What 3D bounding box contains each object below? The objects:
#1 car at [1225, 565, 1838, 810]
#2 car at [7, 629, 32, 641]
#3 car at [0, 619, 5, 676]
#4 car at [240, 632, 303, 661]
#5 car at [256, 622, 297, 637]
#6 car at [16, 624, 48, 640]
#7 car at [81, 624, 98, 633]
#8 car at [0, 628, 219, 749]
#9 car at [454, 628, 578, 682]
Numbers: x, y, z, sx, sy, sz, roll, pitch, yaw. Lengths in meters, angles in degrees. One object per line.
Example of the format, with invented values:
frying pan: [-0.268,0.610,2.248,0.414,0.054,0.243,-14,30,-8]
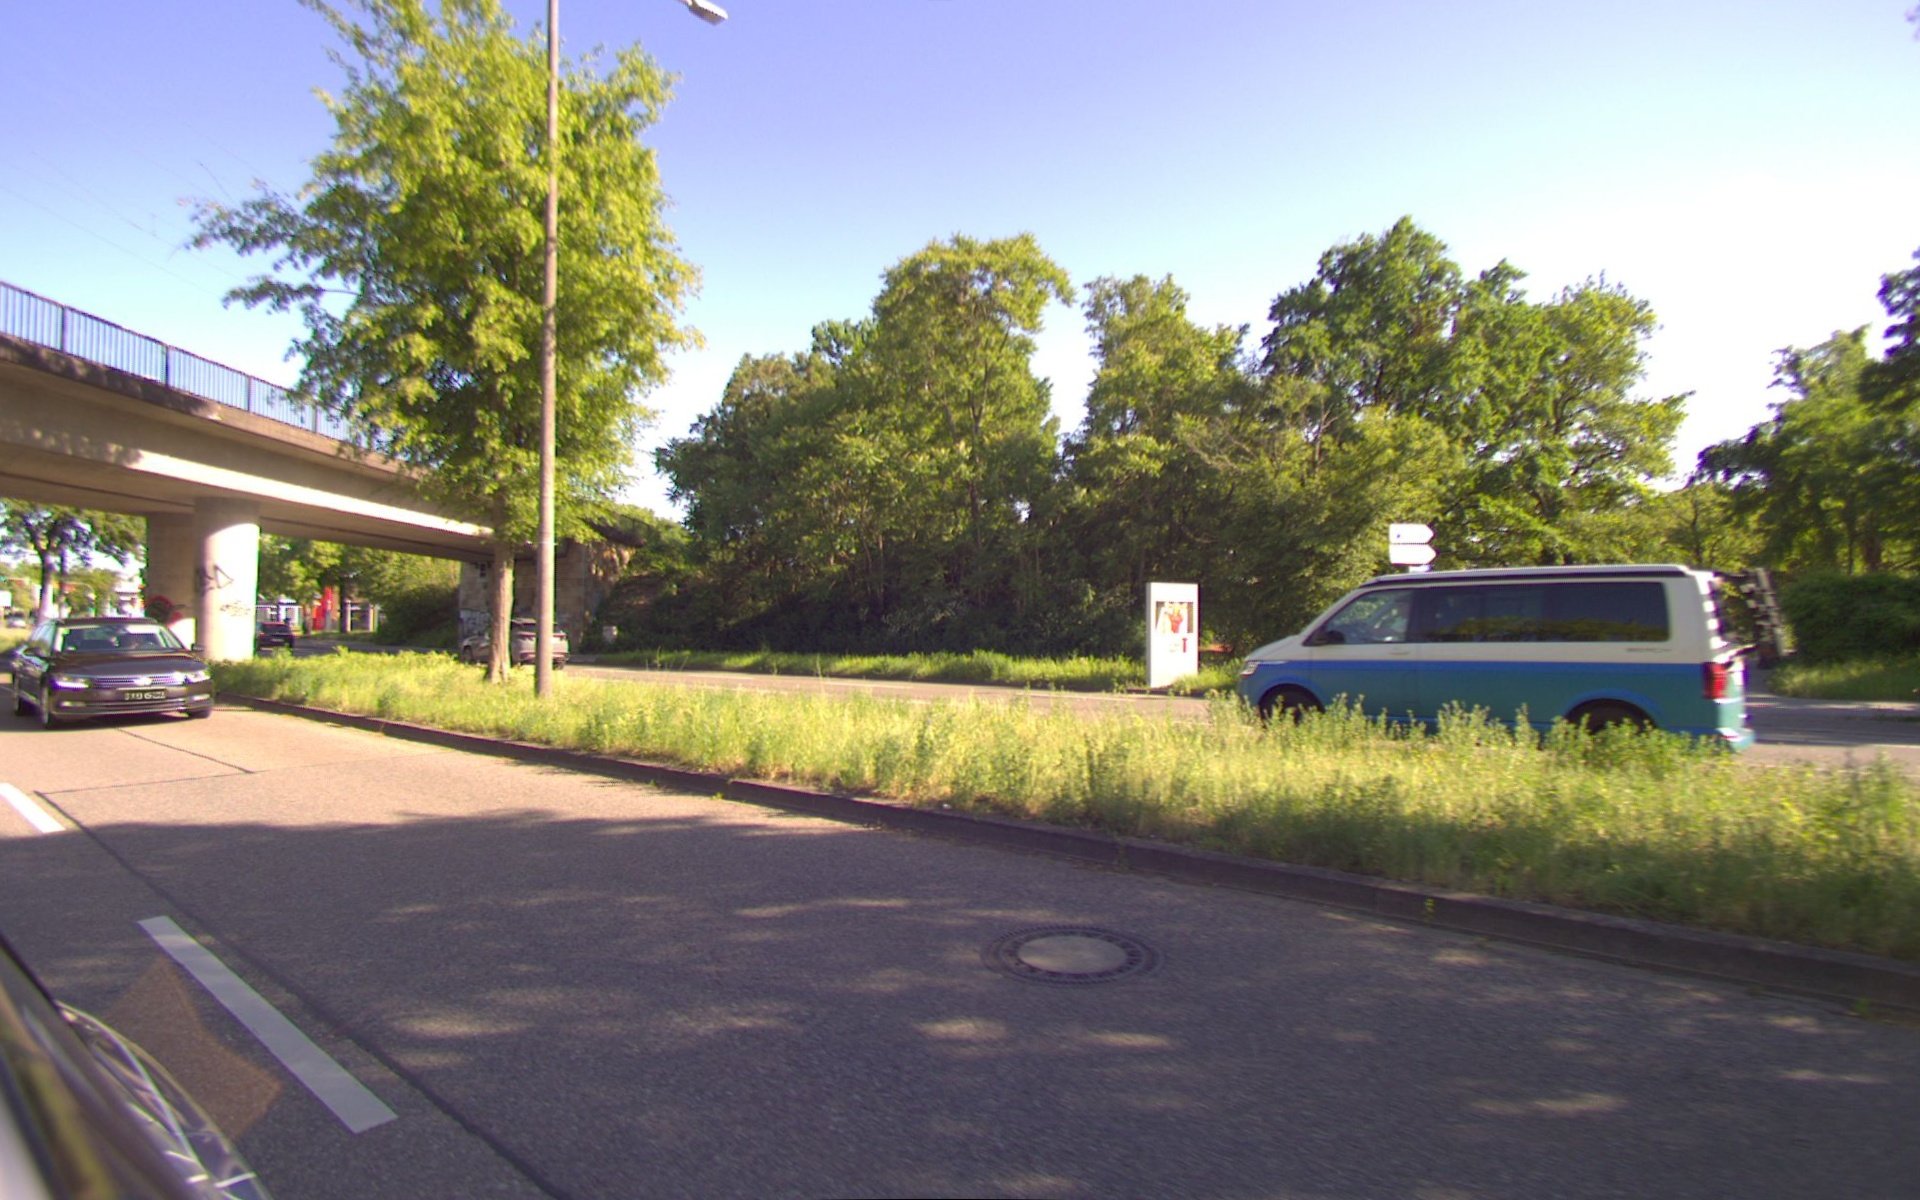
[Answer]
car: [5.615,0.746,10.517,5.242,1.944,1.973,-1,-2,41]
car: [-126.612,4.732,136.267,4.487,1.466,1.894,-1,-4,41]
car: [-31.053,1.435,31.129,4.693,1.696,1.973,-1,-1,41]
car: [-36.183,2.430,53.142,3.637,1.472,1.823,-1,-3,41]
car: [-84.672,3.647,125.396,3.777,1.865,1.847,0,-1,1]
car: [-89.926,3.077,98.073,4.087,1.453,1.797,-1,-3,41]
car: [-160.698,5.213,186.783,4.116,1.625,1.740,-1,-4,40]
car: [-12.314,1.144,14.536,4.264,1.464,1.824,-1,-2,41]
car: [-14.425,1.724,32.783,4.591,1.564,1.961,-1,-1,42]
